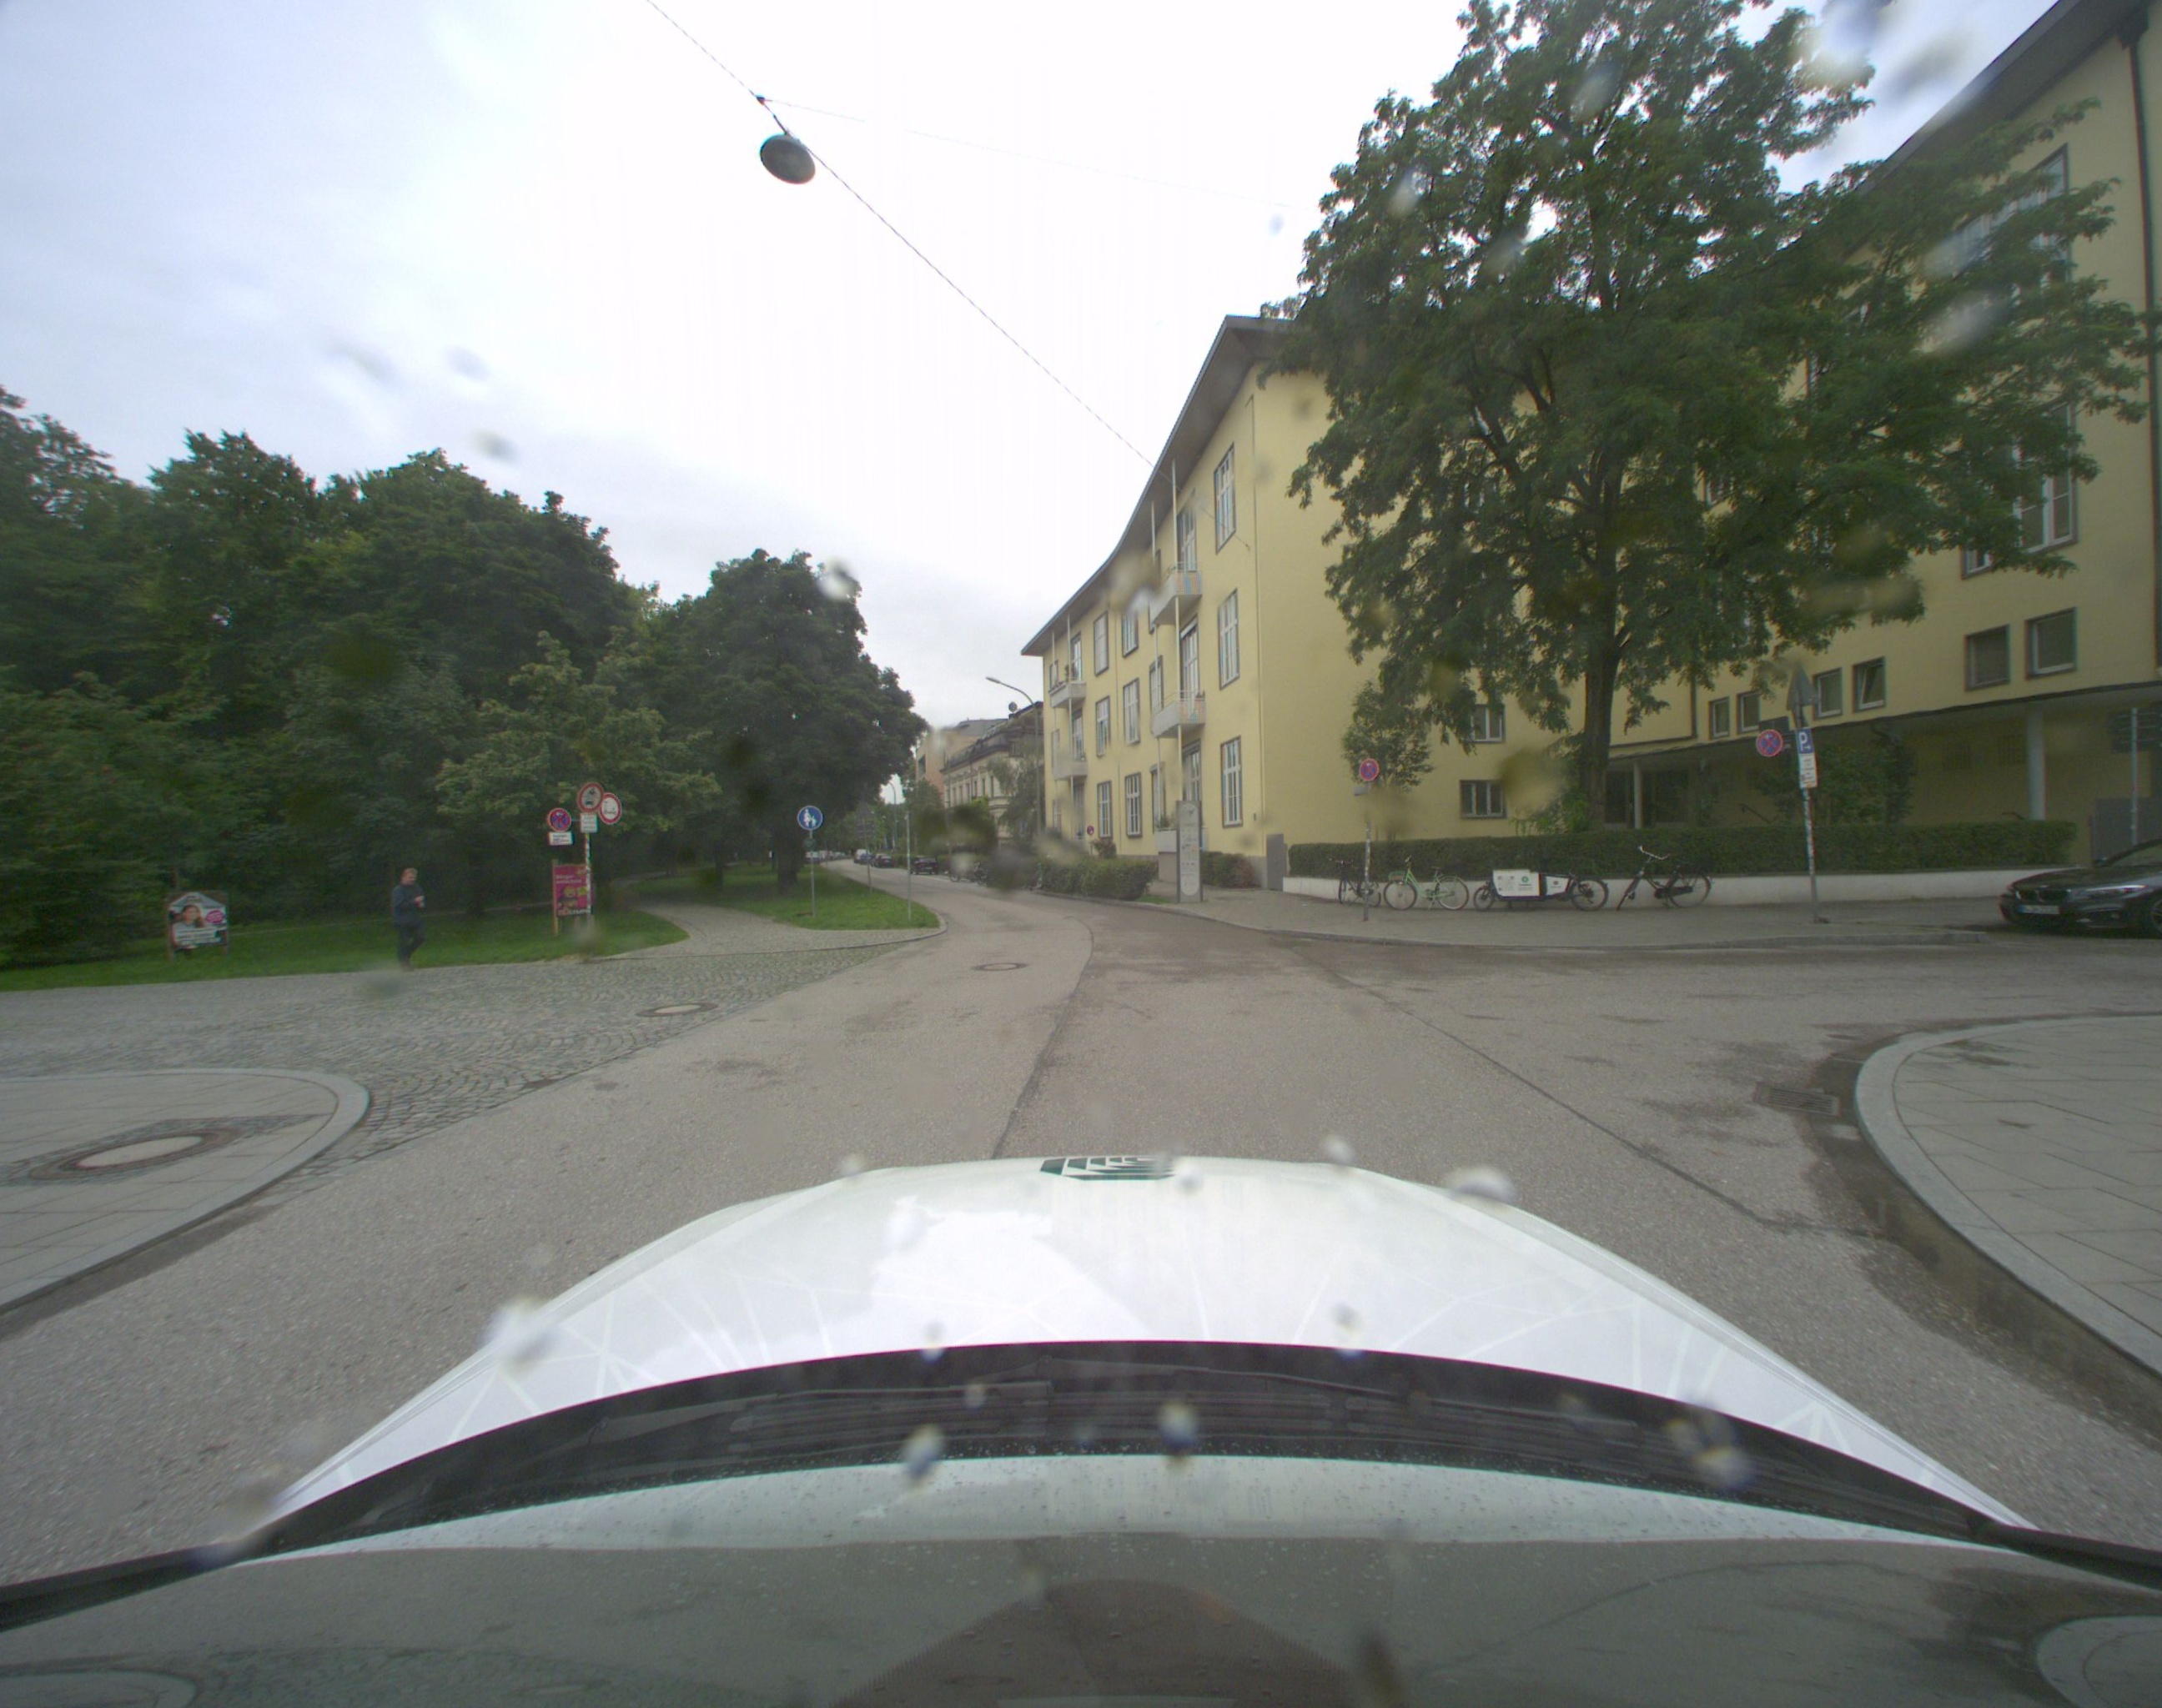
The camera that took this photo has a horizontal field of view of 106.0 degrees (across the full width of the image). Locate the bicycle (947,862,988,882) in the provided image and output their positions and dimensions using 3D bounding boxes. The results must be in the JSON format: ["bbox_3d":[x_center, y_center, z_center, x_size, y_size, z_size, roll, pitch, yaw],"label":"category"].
[{"bbox_3d":[-6.813,1.083,48.995,2.342,1.085,0.687,-3,0,-25],"label":"bicycle"}]

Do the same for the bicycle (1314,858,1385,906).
[{"bbox_3d":[6.468,0.646,19.750,0.608,1.072,2.209,-2,0,-11],"label":"bicycle"}]

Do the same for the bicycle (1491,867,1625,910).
[{"bbox_3d":[9.218,0.668,15.839,2.189,0.779,0.614,-2,0,26],"label":"bicycle"}]

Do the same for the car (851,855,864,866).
[{"bbox_3d":[-34.592,1.043,126.118,1.650,1.652,4.256,-2,0,-19],"label":"car"}]

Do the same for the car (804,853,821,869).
[{"bbox_3d":[-34.478,0.914,104.518,2.000,1.837,3.974,-2,0,-19],"label":"car"}]

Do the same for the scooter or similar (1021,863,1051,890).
[{"bbox_3d":[-1.946,0.971,35.349,0.490,1.109,1.419,-2,0,33],"label":"scooter or similar"}]

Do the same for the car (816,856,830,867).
[{"bbox_3d":[-44.898,1.290,141.650,1.997,1.837,3.980,-2,0,-15],"label":"car"}]

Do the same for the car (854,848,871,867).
[{"bbox_3d":[-31.003,0.507,115.416,1.882,2.568,4.899,-2,0,-20],"label":"car"}]

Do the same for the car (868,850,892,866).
[{"bbox_3d":[-22.938,0.468,92.950,2.184,1.657,4.475,-3,0,-20],"label":"car"}]

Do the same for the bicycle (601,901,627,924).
[{"bbox_3d":[-17.695,2.209,30.885,0.439,0.776,1.356,-1,0,-11],"label":"bicycle"}]

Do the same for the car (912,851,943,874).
[{"bbox_3d":[-11.957,0.633,63.425,1.868,1.633,4.259,-2,0,-17],"label":"car"}]

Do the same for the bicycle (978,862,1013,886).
[{"bbox_3d":[-4.231,1.001,40.400,0.631,1.085,1.998,-2,0,30],"label":"bicycle"}]

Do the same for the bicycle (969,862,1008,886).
[{"bbox_3d":[-4.652,1.017,41.182,0.689,1.085,2.353,-2,0,30],"label":"bicycle"}]

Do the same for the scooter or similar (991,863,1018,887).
[{"bbox_3d":[-3.770,1.040,40.001,0.490,1.088,1.419,-2,0,33],"label":"scooter or similar"}]

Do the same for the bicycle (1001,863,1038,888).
[{"bbox_3d":[-2.926,1.023,38.978,0.570,1.085,1.946,-2,0,37],"label":"bicycle"}]

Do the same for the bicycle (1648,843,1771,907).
[{"bbox_3d":[11.767,0.391,15.281,1.724,1.150,0.612,-2,0,10],"label":"bicycle"}]

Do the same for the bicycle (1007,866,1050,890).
[{"bbox_3d":[-2.366,1.070,36.698,1.830,1.005,0.573,-3,0,-22],"label":"bicycle"}]

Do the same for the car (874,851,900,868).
[{"bbox_3d":[-20.785,0.569,87.132,2.184,1.657,4.475,-3,0,-20],"label":"car"}]

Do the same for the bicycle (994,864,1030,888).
[{"bbox_3d":[-3.348,1.053,39.593,0.570,1.085,1.946,-2,0,37],"label":"bicycle"}]

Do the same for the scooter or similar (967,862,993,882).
[{"bbox_3d":[-5.837,1.047,47.193,1.401,1.088,0.596,-2,0,-2],"label":"scooter or similar"}]

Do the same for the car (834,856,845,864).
[{"bbox_3d":[-52.210,1.269,176.261,1.995,1.574,3.983,-2,0,-13],"label":"car"}]

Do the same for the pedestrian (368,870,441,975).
[{"bbox_3d":[-11.868,1.176,14.301,0.730,1.752,0.656,-2,0,-16],"label":"pedestrian"}]

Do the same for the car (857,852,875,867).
[{"bbox_3d":[-28.088,0.707,106.333,1.882,1.816,3.973,-2,0,-20],"label":"car"}]

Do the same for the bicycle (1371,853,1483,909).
[{"bbox_3d":[7.343,0.556,17.395,0.613,1.117,2.193,-1,0,-36],"label":"bicycle"}]

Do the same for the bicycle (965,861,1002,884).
[{"bbox_3d":[-5.128,0.951,43.022,0.755,1.085,2.154,-2,0,30],"label":"bicycle"}]

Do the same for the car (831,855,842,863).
[{"bbox_3d":[-50.415,1.100,168.084,1.998,1.574,3.978,-2,0,-16],"label":"car"}]

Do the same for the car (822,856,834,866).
[{"bbox_3d":[-46.336,1.268,149.070,1.998,1.837,3.977,-2,0,-17],"label":"car"}]

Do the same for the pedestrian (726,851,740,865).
[{"bbox_3d":[-48.539,0.541,113.551,1.021,1.945,1.336,-2,0,38],"label":"pedestrian"}]

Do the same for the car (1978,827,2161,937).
[{"bbox_3d":[15.696,0.323,11.504,3.956,1.435,1.608,-2,-1,6],"label":"car"}]
